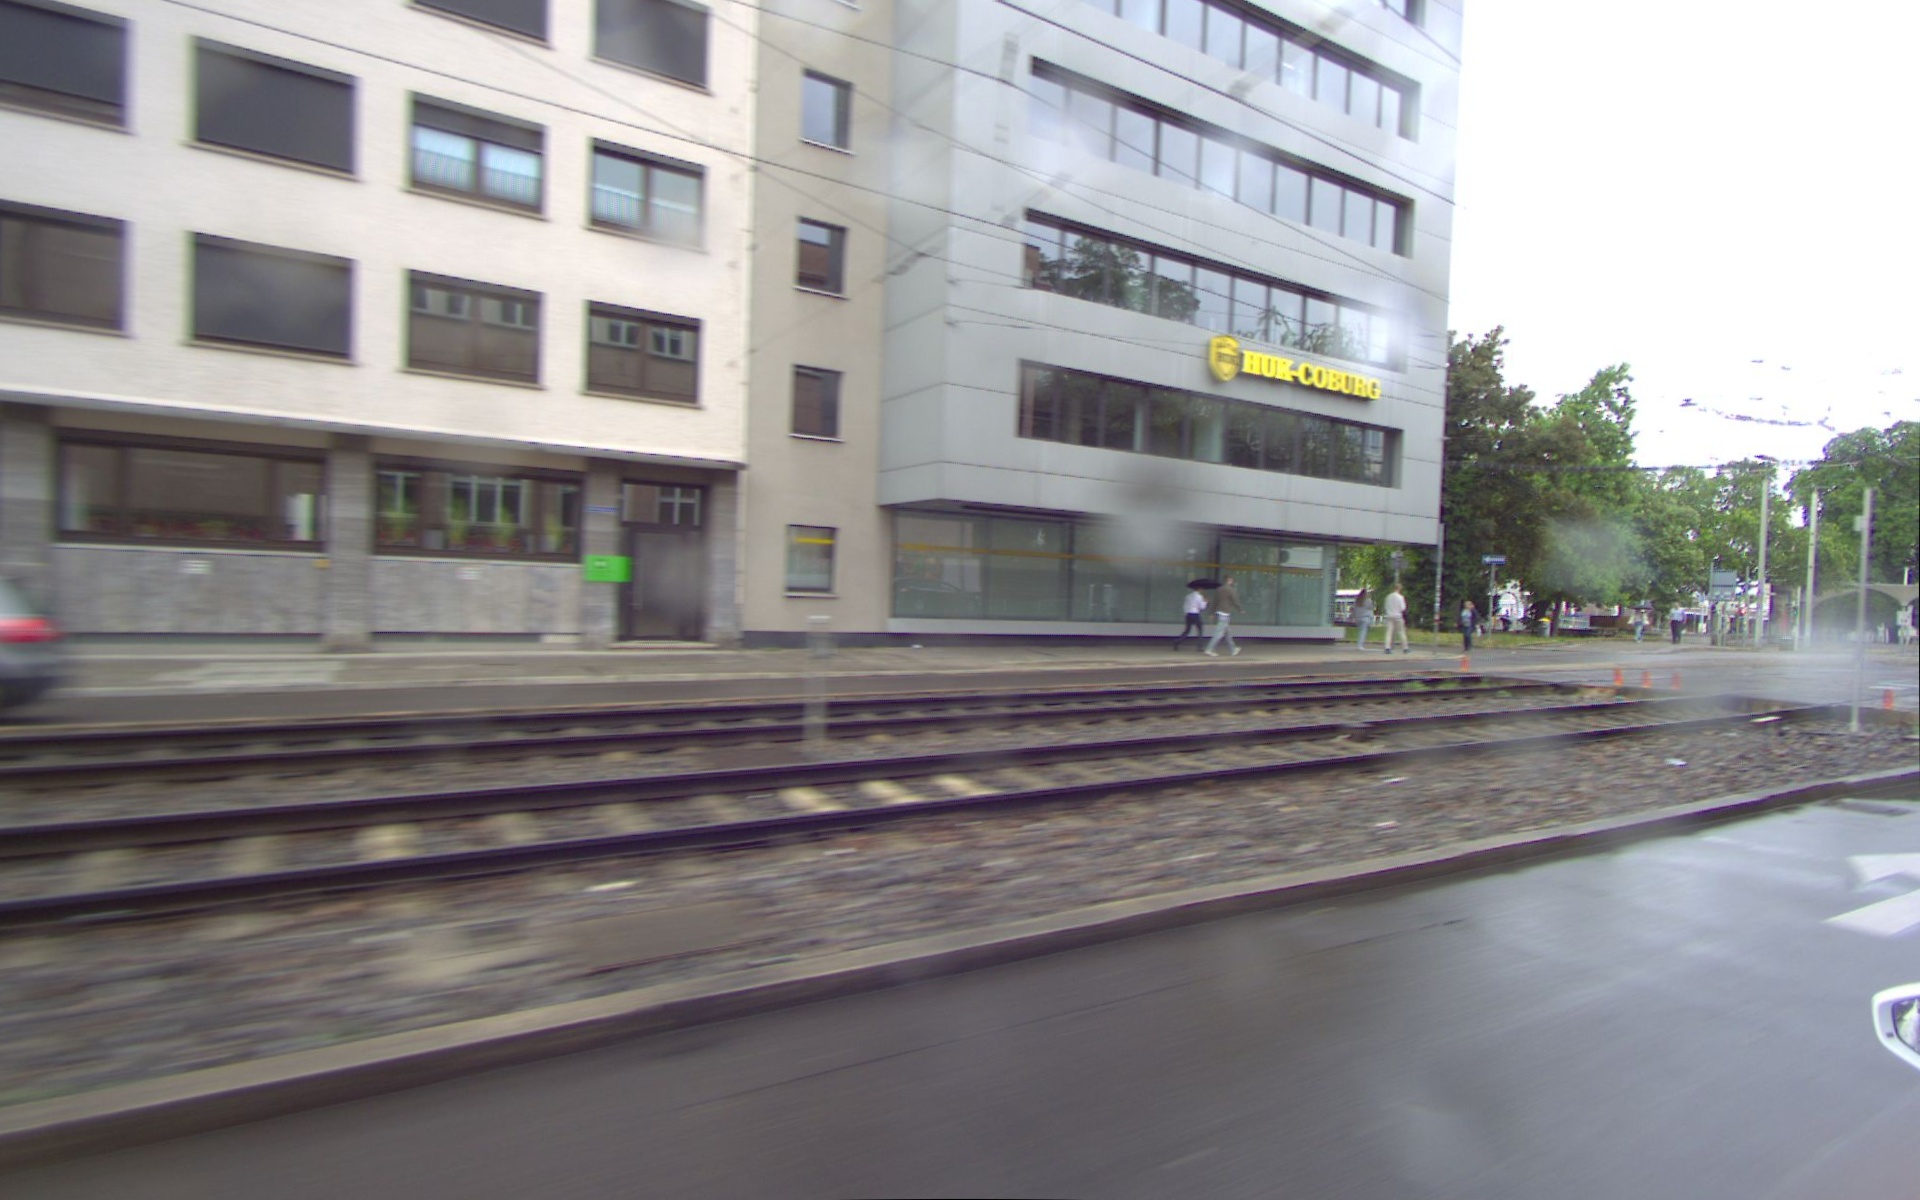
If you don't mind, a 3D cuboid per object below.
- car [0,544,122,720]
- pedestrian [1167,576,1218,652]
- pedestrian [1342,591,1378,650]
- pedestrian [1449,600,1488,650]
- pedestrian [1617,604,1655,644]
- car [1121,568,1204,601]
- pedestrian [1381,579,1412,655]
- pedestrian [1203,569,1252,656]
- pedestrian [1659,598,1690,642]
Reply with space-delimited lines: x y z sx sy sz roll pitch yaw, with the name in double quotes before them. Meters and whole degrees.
"car" -10.318 0.262 8.821 4.304 1.556 1.927 2 -2 -34
"pedestrian" 5.847 0.346 25.241 0.962 1.840 0.657 2 3 -30
"pedestrian" 11.440 0.586 28.764 0.625 1.615 0.587 3 3 -14
"pedestrian" 17.023 0.828 33.619 0.952 1.615 0.586 5 3 42
"pedestrian" 29.590 1.048 43.987 0.989 1.615 0.908 2 3 -24
"car" 9.632 -0.728 47.912 3.480 1.467 1.698 1 0 34
"pedestrian" 12.201 0.463 28.098 0.650 2.041 0.616 4 3 21
"pedestrian" 6.497 0.307 24.449 0.801 2.041 0.657 2 3 -30
"pedestrian" 32.277 0.897 45.414 0.897 1.888 1.002 5 3 28
